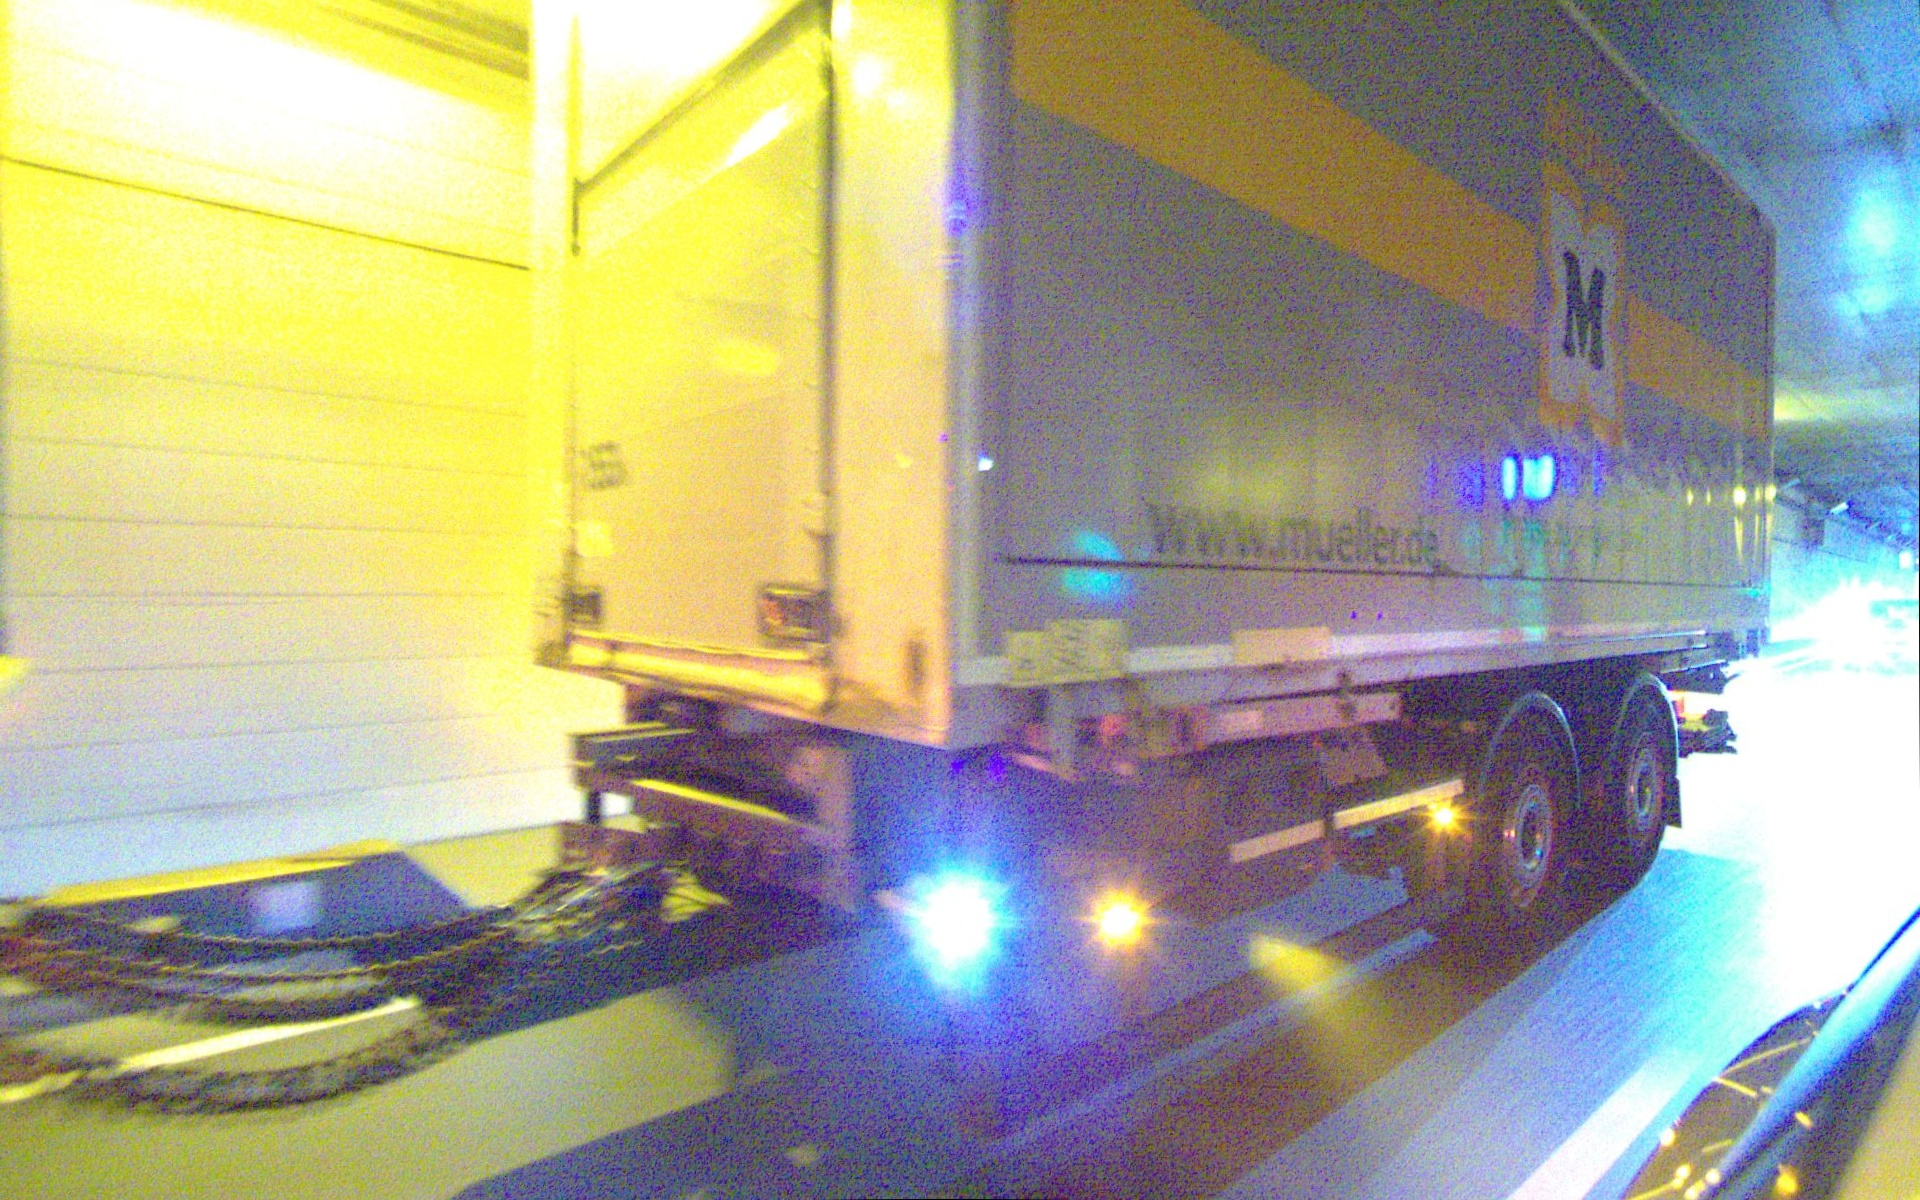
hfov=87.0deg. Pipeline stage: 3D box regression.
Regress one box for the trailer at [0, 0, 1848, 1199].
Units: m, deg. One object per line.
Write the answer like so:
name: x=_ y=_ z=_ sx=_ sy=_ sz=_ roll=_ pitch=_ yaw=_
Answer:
trailer: x=1.524 y=-0.688 z=4.906 sx=8.790 sy=3.906 sz=2.881 roll=0 pitch=2 yaw=-40

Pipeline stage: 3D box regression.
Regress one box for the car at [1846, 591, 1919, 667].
car: x=19.603 y=0.540 z=20.706 sx=3.733 sy=1.420 sz=1.733 roll=-1 pitch=1 yaw=-41
